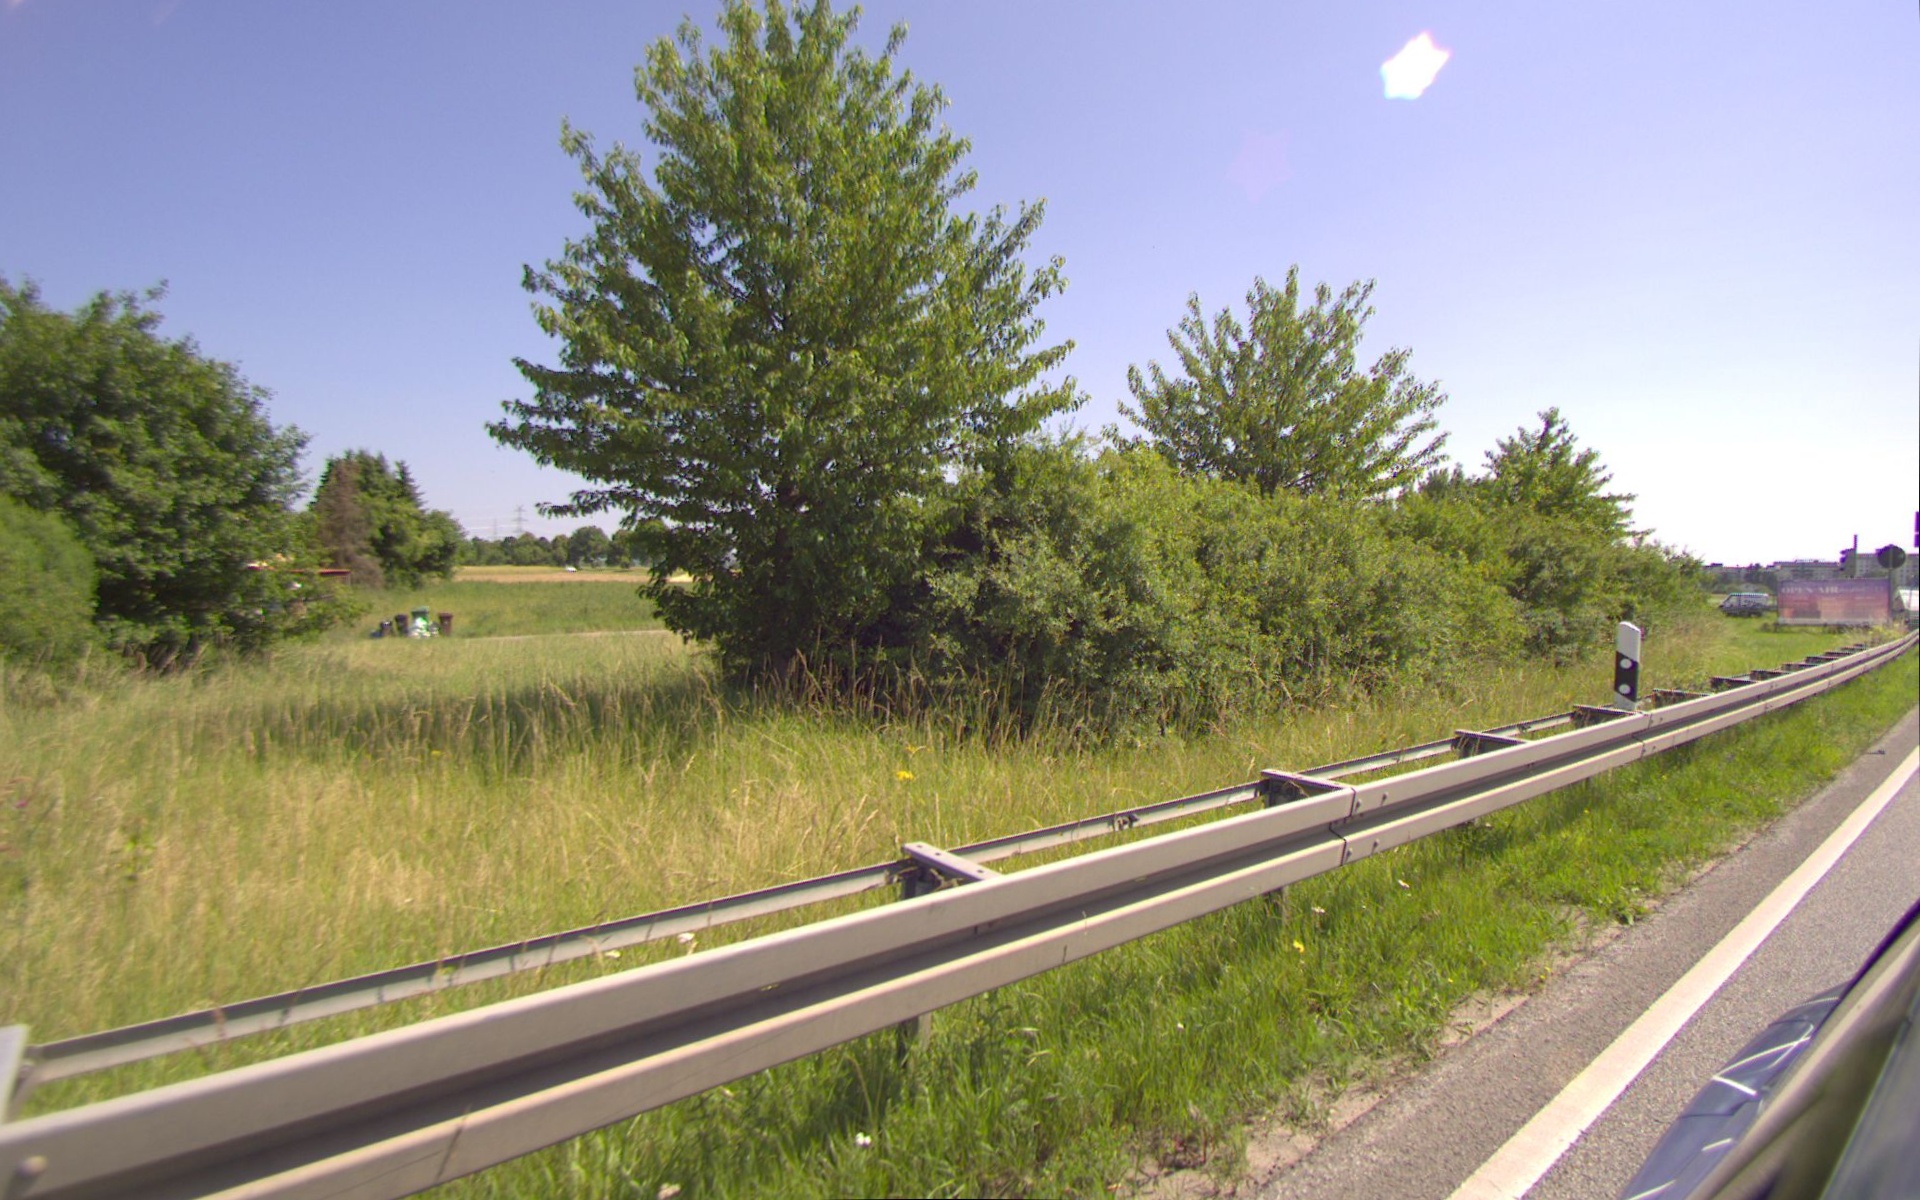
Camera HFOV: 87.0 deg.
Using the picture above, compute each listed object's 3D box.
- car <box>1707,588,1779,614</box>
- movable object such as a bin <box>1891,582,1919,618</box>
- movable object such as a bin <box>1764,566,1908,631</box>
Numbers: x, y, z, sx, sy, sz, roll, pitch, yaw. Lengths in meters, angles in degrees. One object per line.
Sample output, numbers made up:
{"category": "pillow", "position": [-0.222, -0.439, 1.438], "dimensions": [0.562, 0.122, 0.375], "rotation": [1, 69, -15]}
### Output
{"category": "car", "position": [47.088, 0.040, 60.900], "dimensions": [3.335, 1.518, 1.379], "rotation": [1, 1, 43]}
{"category": "movable object such as a bin", "position": [65.363, -0.042, 68.731], "dimensions": [4.332, 2.392, 1.529], "rotation": [-1, 0, -23]}
{"category": "movable object such as a bin", "position": [33.521, -0.061, 38.812], "dimensions": [4.095, 2.361, 1.257], "rotation": [0, 0, 45]}
